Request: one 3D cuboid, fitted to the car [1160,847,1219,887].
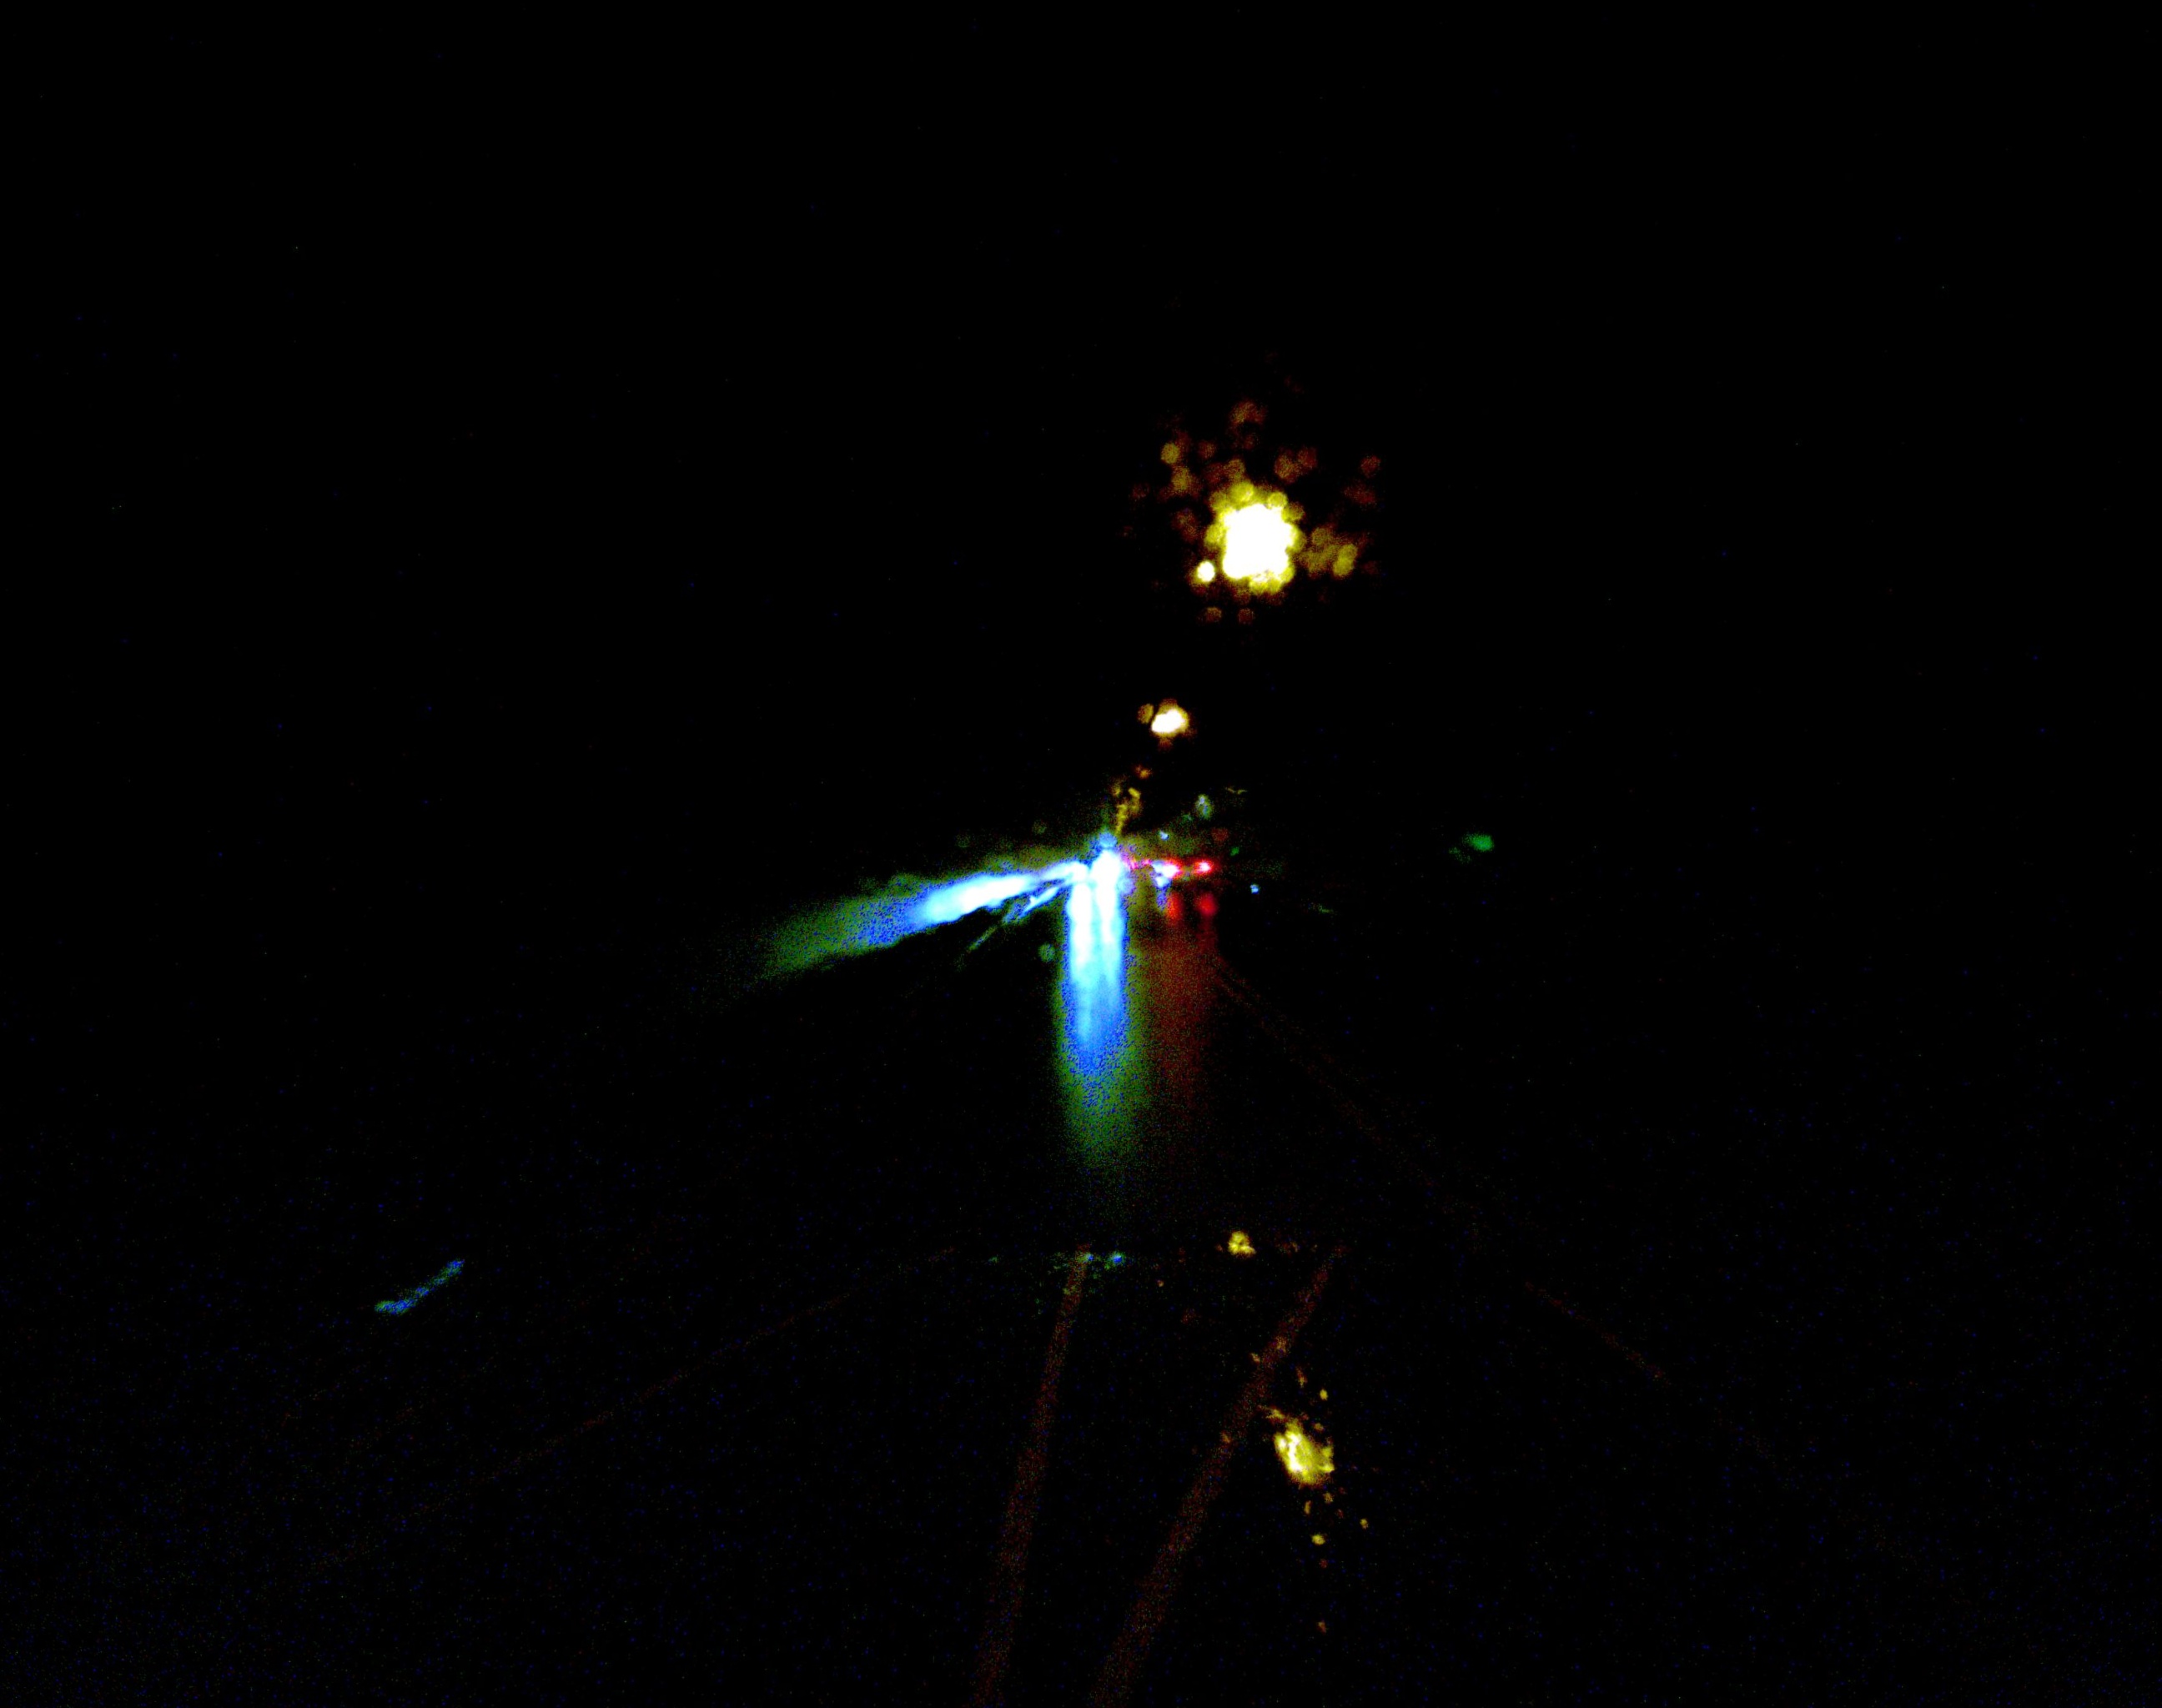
[{"bbox_3d":[4.348,0.508,31.091,1.817,1.473,4.201,-2,0,1],"label":"car"}]

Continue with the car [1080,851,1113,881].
[{"bbox_3d":[0.931,0.655,43.964,1.730,1.595,4.000,-2,0,2],"label":"car"}]

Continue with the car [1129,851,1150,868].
[{"bbox_3d":[5.256,0.518,69.109,1.664,1.481,3.963,-1,0,1],"label":"car"}]
